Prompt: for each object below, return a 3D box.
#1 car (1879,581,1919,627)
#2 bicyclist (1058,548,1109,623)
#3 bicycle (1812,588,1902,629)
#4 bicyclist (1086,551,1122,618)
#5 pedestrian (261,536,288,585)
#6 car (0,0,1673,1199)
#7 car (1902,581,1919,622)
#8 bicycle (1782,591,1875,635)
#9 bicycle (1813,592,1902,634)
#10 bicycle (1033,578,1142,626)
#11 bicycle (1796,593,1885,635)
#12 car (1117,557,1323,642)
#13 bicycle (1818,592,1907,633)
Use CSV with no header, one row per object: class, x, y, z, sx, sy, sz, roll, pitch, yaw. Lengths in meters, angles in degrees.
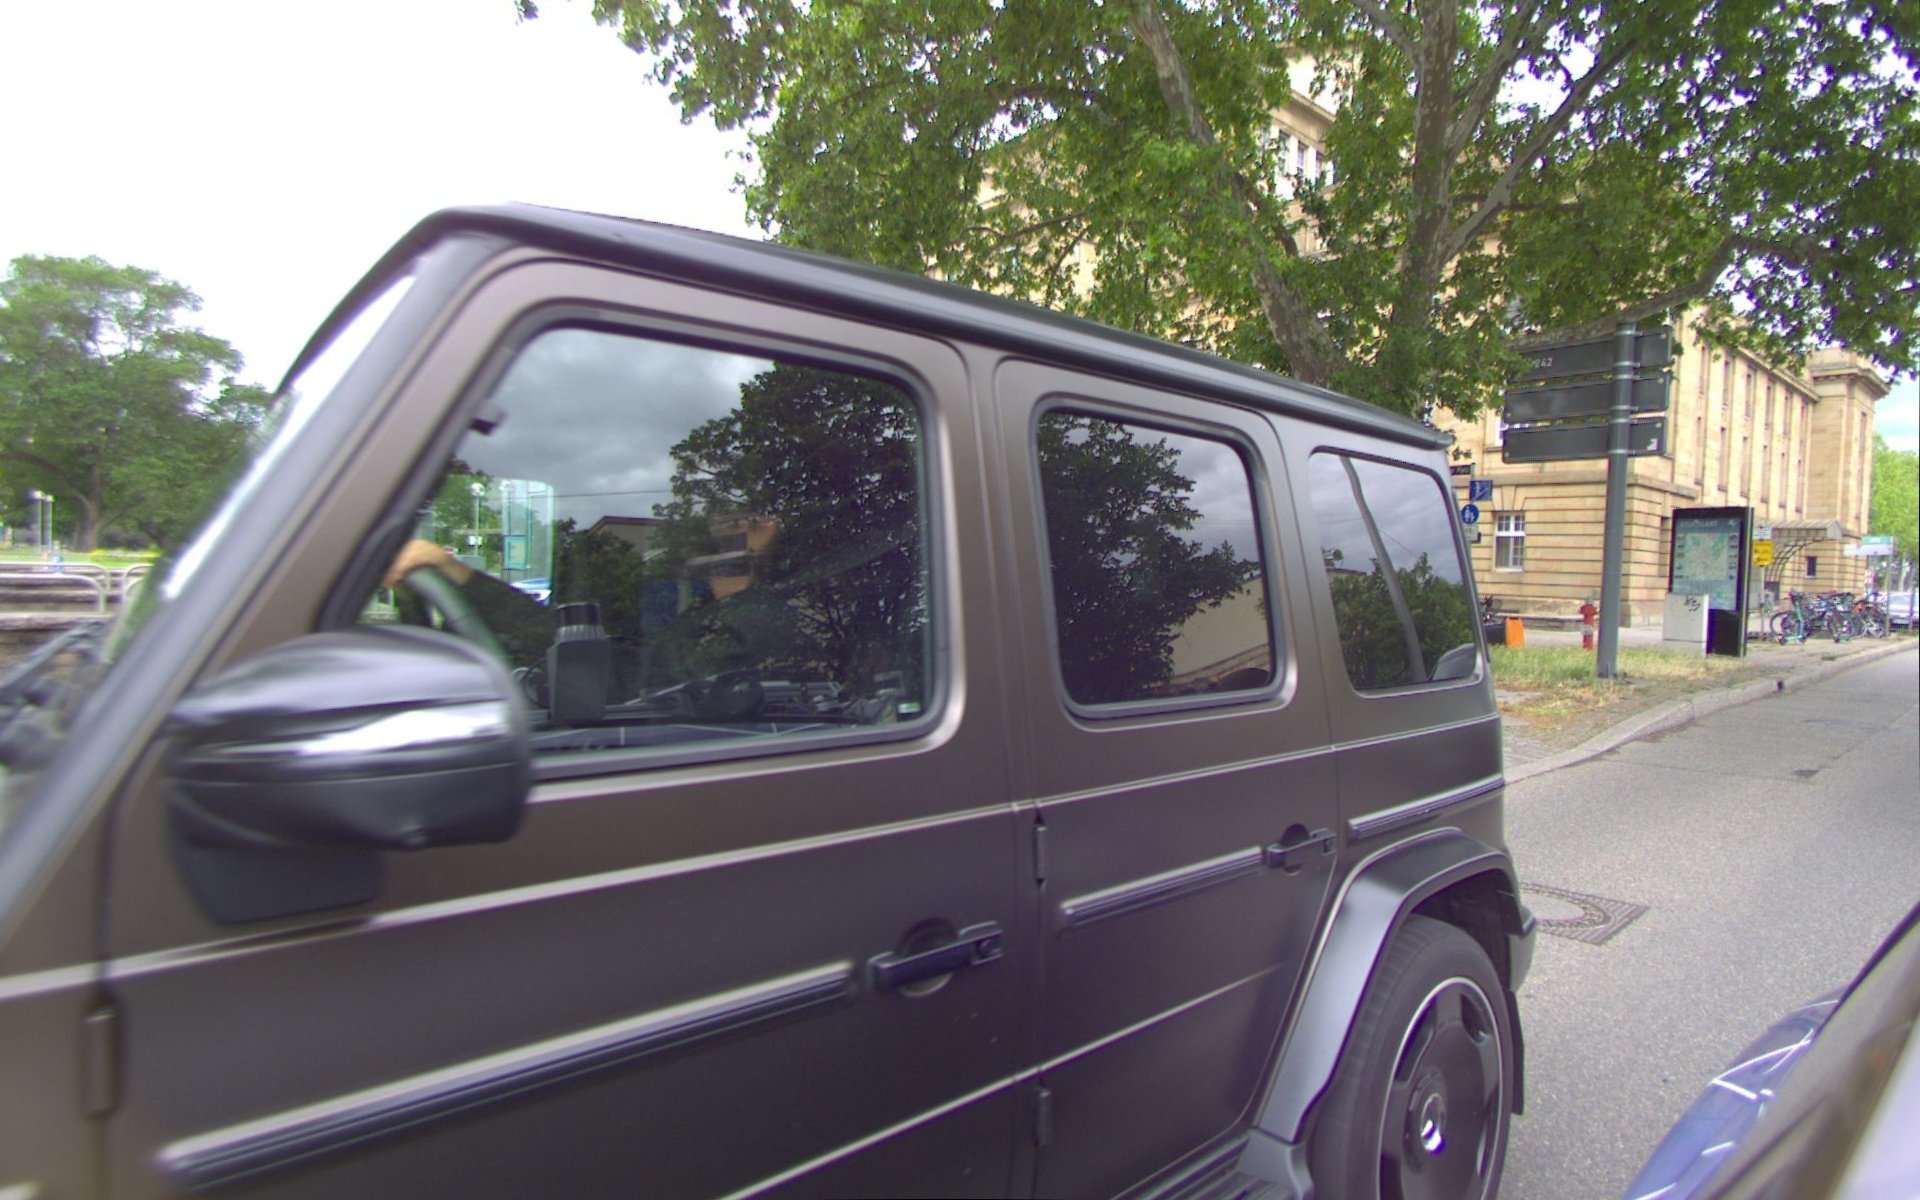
car,34.751,0.134,36.382,3.927,1.549,1.844,-1,3,-38
bicyclist,3.455,-0.416,28.290,1.005,2.039,1.091,2,1,33
bicycle,27.133,0.244,30.659,1.922,1.146,0.535,2,2,31
bicyclist,4.468,-0.488,31.367,0.869,2.039,0.837,-1,0,25
pedestrian,-28.942,-1.653,42.732,0.801,2.039,0.857,-2,1,-41
car,-0.312,0.375,2.167,4.626,1.917,1.981,-1,1,-41
car,40.417,0.071,41.548,3.927,1.613,1.868,-1,3,-38
bicycle,24.086,0.346,28.089,1.912,1.112,0.533,3,2,43
bicycle,25.521,0.358,28.808,1.834,1.085,0.524,3,2,43
bicycle,3.523,0.031,28.075,2.826,1.199,1.084,2,2,35
bicycle,24.698,0.373,28.400,1.835,1.085,0.609,3,2,43
car,5.391,-0.039,21.378,1.704,1.616,3.995,-1,1,-40
bicycle,26.210,0.342,29.428,1.826,1.085,0.526,2,2,31
